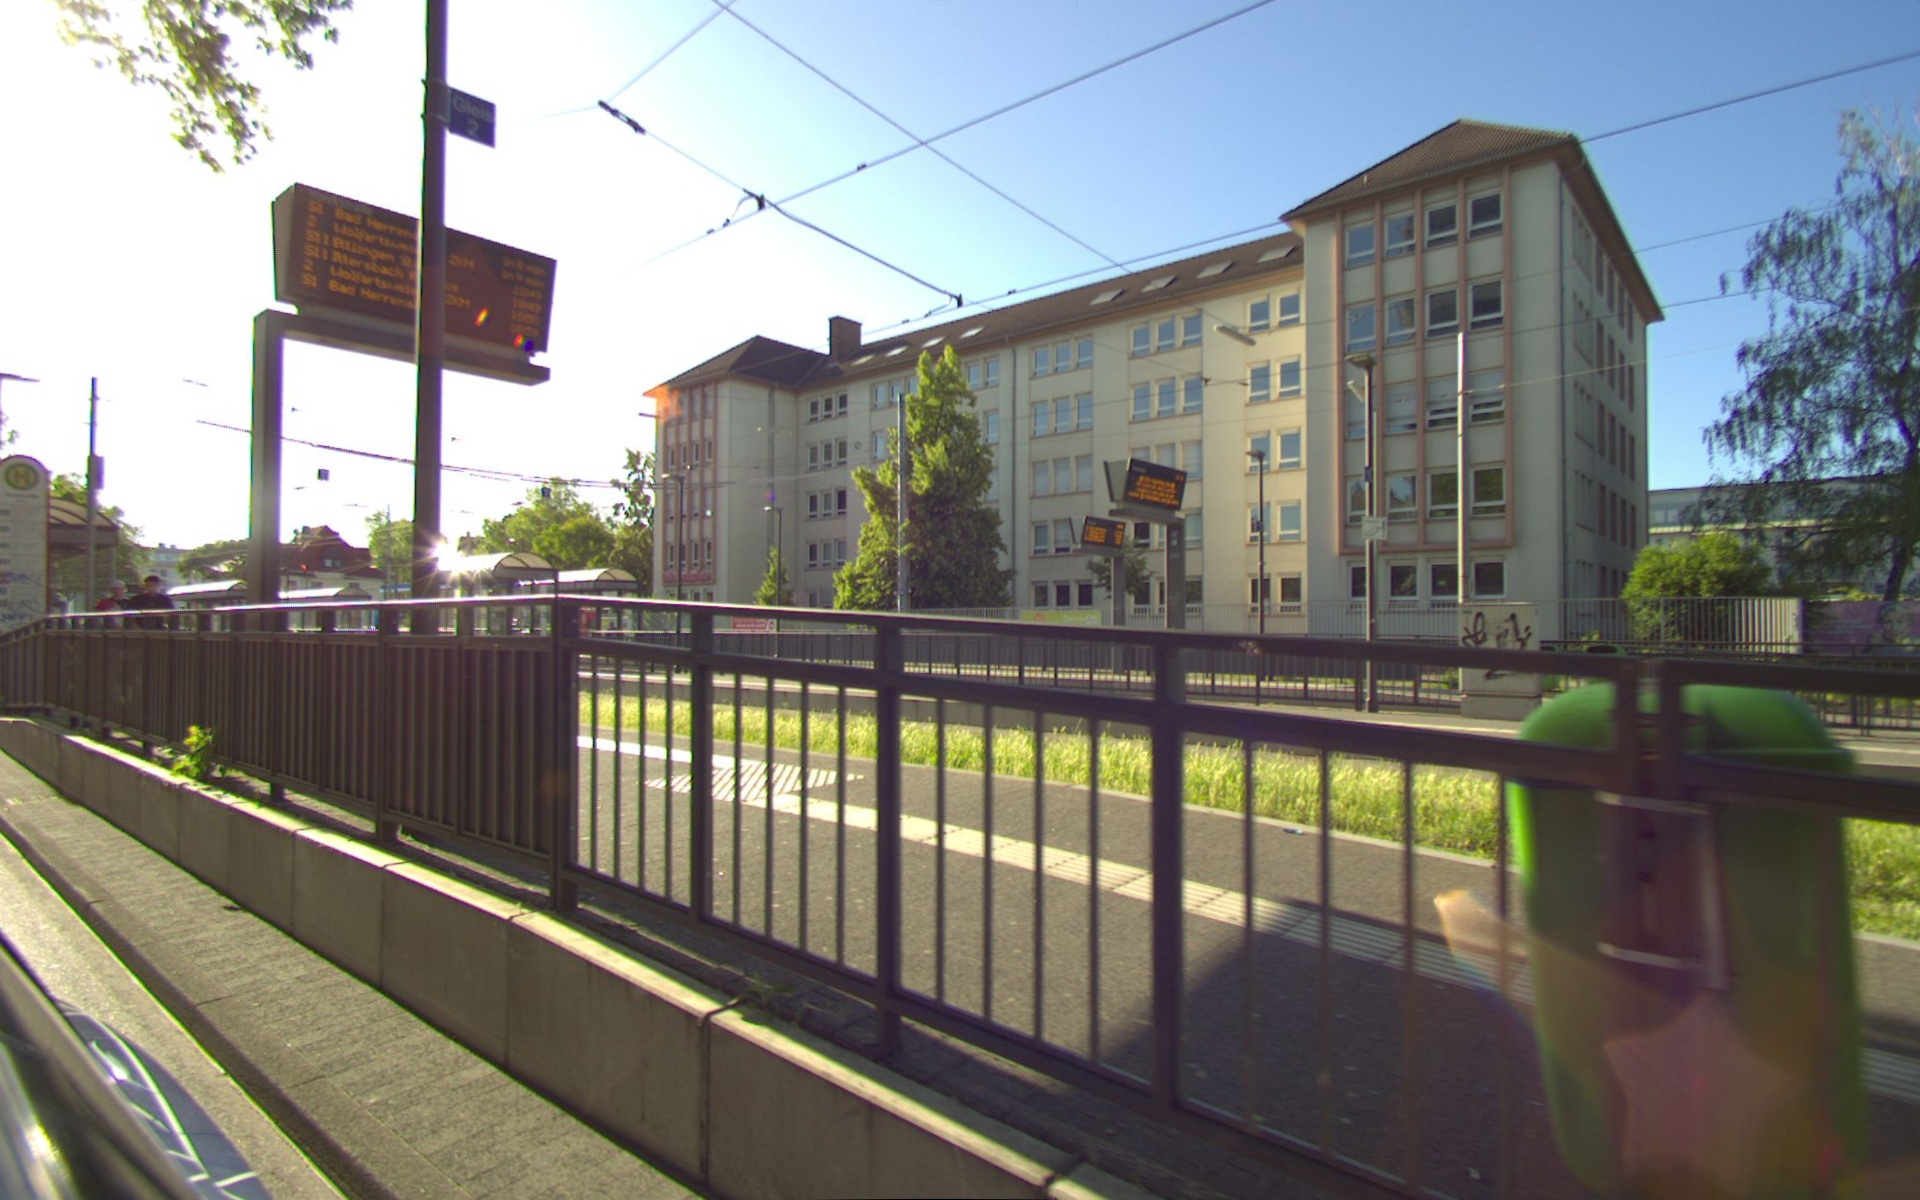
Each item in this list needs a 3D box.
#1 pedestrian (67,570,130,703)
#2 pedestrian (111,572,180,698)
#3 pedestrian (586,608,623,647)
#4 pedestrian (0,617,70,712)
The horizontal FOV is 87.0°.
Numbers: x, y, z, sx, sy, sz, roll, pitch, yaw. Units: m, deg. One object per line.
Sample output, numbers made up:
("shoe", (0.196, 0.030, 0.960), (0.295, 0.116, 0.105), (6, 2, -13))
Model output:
("pedestrian", (-13.537, 0.565, 15.905), (0.716, 2.029, 0.660), (-2, -2, 42))
("pedestrian", (-12.043, 0.513, 14.963), (0.754, 1.797, 0.674), (-2, -2, 42))
("pedestrian", (-12.750, 0.983, 36.297), (0.878, 1.386, 0.965), (-2, -2, 40))
("pedestrian", (-12.222, 0.824, 13.250), (0.812, 1.188, 0.744), (-2, -2, 40))
